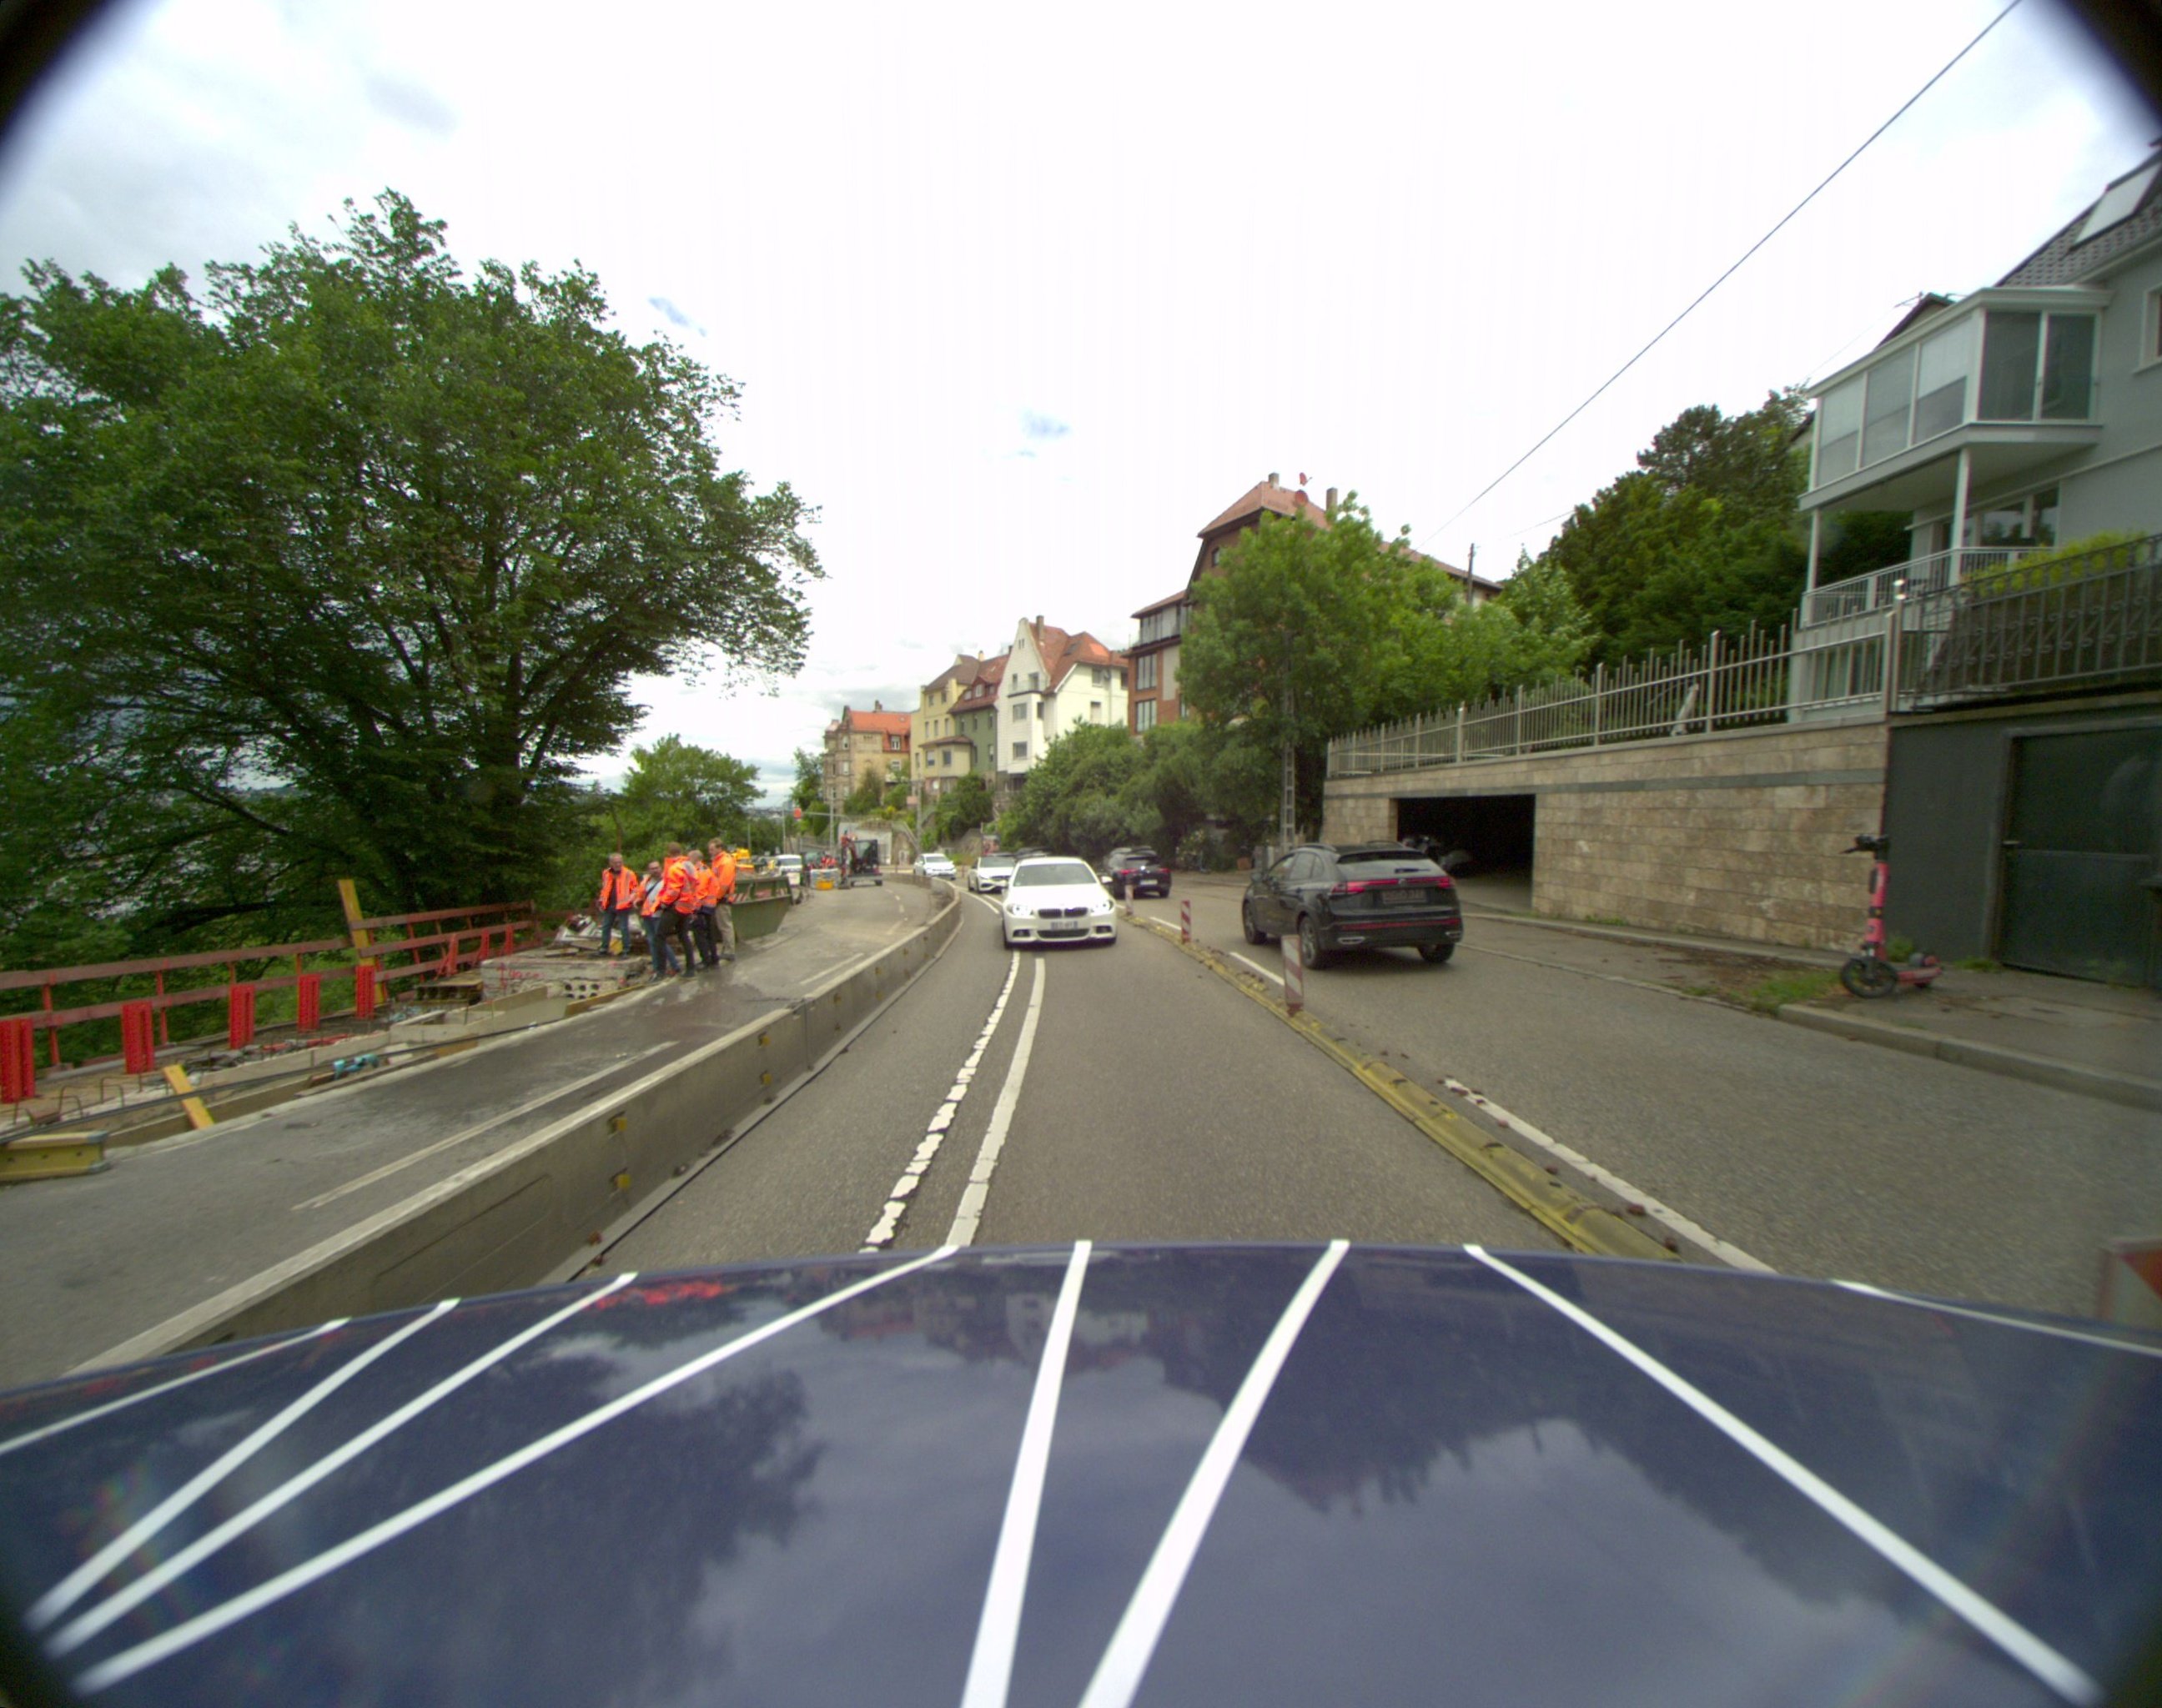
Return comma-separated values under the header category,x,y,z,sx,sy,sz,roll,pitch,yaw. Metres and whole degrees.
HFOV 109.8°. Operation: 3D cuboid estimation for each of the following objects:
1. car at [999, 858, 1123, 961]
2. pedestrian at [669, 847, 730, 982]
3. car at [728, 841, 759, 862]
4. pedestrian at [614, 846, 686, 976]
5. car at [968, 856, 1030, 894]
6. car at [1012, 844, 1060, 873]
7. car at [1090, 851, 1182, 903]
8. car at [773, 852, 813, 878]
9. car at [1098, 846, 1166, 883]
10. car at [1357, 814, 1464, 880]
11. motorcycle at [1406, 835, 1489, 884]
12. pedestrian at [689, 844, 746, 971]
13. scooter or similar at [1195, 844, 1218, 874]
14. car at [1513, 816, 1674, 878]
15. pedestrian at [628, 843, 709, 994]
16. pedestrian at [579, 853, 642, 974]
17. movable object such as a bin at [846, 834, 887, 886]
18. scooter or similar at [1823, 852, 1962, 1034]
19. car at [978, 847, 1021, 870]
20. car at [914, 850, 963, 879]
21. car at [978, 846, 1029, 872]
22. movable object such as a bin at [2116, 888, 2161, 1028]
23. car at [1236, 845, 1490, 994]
category,x,y,z,sx,sy,sz,roll,pitch,yaw
car,-0.562,0.859,14.127,1.853,1.458,4.875,-2,1,-6
pedestrian,-5.362,0.824,10.707,0.527,1.832,0.796,2,1,-10
car,-37.314,-0.265,84.029,2.004,2.089,4.059,-3,1,-40
pedestrian,-6.558,0.853,11.590,0.731,1.880,0.618,-4,0,-17
car,-3.337,0.785,30.166,1.800,1.299,4.094,-1,1,-16
car,-2.900,0.290,48.143,1.771,1.587,3.784,-6,3,-23
car,1.662,0.667,24.494,1.869,1.446,4.214,-2,1,-11
car,-20.079,0.773,52.838,1.796,1.676,3.990,-3,1,-31
car,2.227,0.431,34.110,1.825,1.426,3.710,-6,2,-15
car,9.438,-0.277,22.025,1.572,1.596,3.584,-2,5,1
motorcycle,9.548,0.139,19.837,1.842,1.177,0.636,-2,6,4
pedestrian,-5.605,0.804,11.705,0.620,1.873,0.717,1,-2,-39
scooter or similar,5.481,0.208,33.291,0.406,1.250,0.962,-7,3,-26
car,14.406,-0.282,21.679,1.746,1.444,3.995,0,5,-2
pedestrian,-5.256,0.796,9.724,0.640,1.848,0.834,2,1,-10
pedestrian,-7.317,0.892,11.843,0.647,1.784,0.642,-4,2,-24
movable object such as a bin,-11.438,0.296,40.410,1.866,2.580,3.435,-2,1,-18
scooter or similar,6.216,0.618,5.809,1.217,1.225,0.493,-3,2,-32
car,-5.852,0.314,53.980,1.685,1.409,3.783,-7,3,-27
car,-8.499,0.608,44.965,1.889,1.569,3.992,-3,1,-25
car,-4.789,0.293,46.501,1.803,1.462,4.192,-2,1,-25
movable object such as a bin,7.636,0.712,5.106,0.544,0.933,0.601,-2,1,0
car,3.467,0.696,10.191,1.763,1.520,3.909,-3,1,-3
